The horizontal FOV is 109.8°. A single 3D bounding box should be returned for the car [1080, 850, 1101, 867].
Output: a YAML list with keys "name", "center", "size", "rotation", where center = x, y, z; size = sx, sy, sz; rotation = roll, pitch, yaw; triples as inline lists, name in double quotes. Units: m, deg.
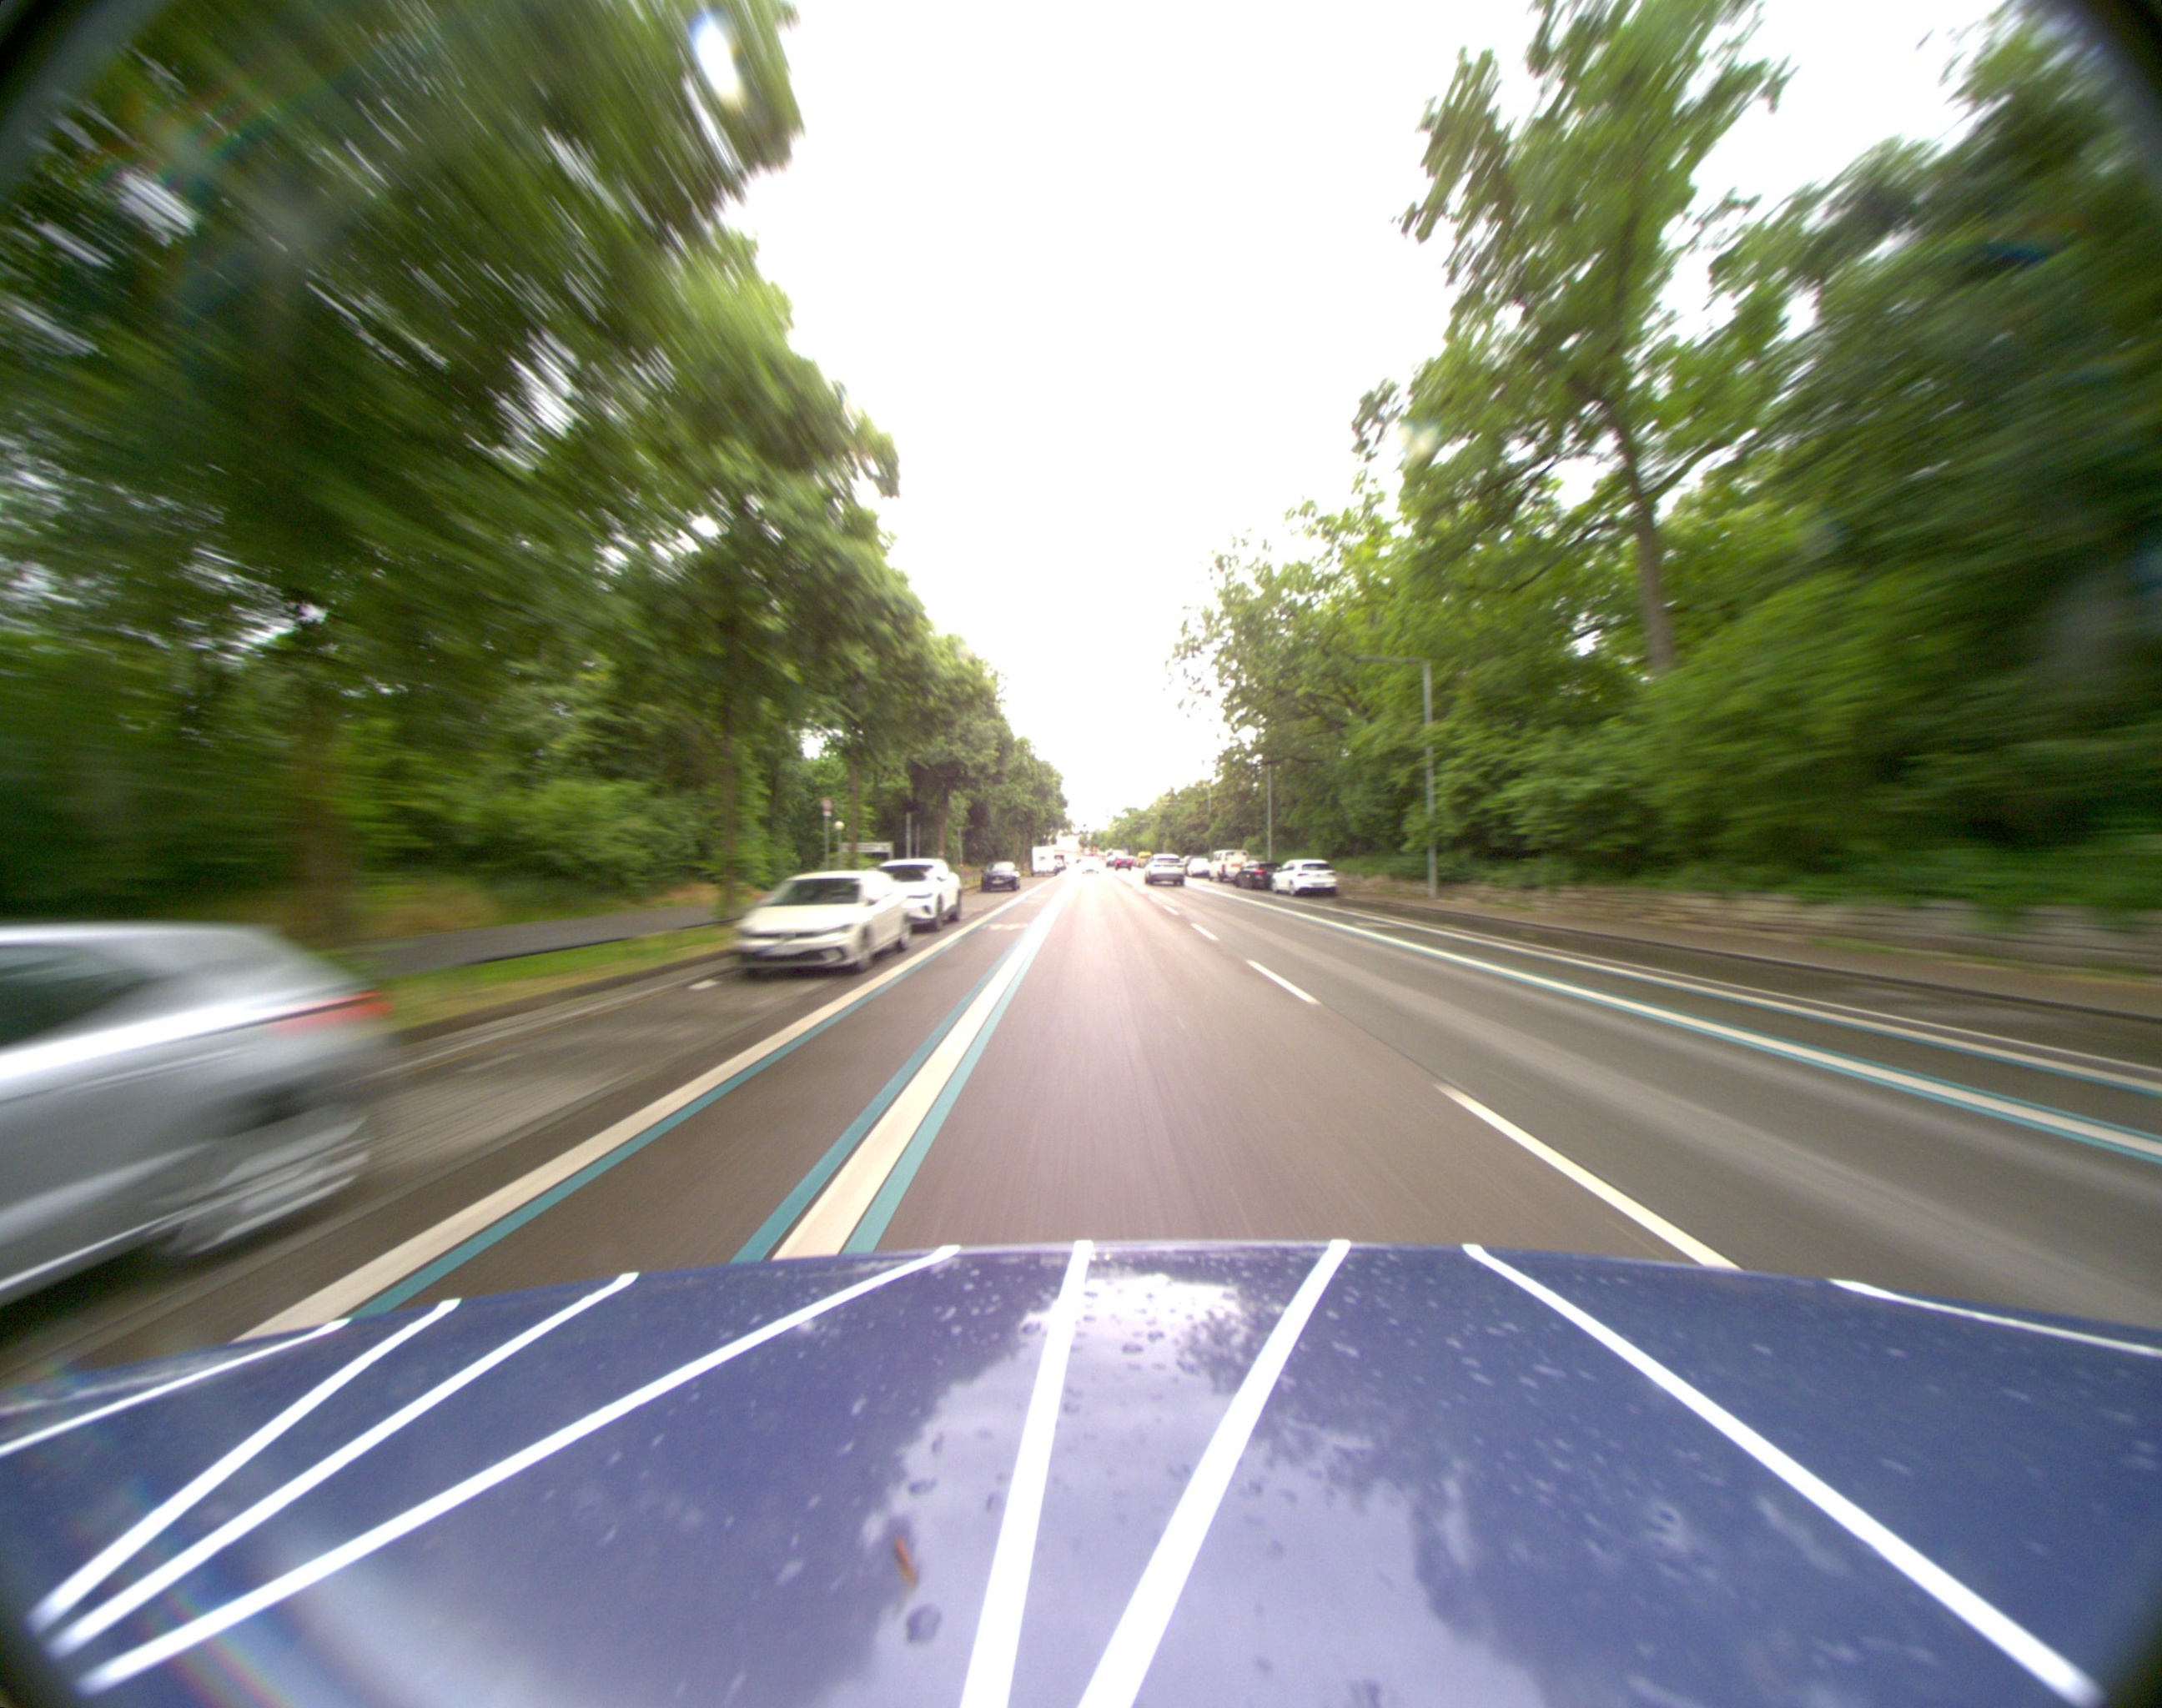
- name: "car"
  center: [0.944, 0.476, 75.243]
  size: [1.998, 1.588, 4.000]
  rotation: [-1, 0, 1]

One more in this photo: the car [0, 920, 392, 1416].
- name: "car"
  center: [-4.270, 1.078, 1.699]
  size: [1.702, 1.445, 4.097]
  rotation: [-2, 0, -1]

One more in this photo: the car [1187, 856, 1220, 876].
- name: "car"
  center: [9.496, 0.889, 59.145]
  size: [1.811, 1.489, 4.753]
  rotation: [0, 1, 1]

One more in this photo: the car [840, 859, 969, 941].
- name: "car"
  center: [-4.038, 0.981, 18.239]
  size: [1.998, 1.652, 4.562]
  rotation: [-1, 0, 0]

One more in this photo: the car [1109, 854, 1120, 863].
- name: "car"
  center: [5.524, 0.798, 126.427]
  size: [1.769, 1.449, 4.496]
  rotation: [1, 0, 1]

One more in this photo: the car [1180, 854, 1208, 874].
- name: "car"
  center: [9.749, 0.821, 65.672]
  size: [1.740, 1.651, 4.673]
  rotation: [0, 0, 0]

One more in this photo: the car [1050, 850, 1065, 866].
- name: "car"
  center: [-3.470, 0.615, 114.842]
  size: [1.998, 2.231, 4.000]
  rotation: [-2, 1, 1]

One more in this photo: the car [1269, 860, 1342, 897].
- name: "car"
  center: [9.330, 0.985, 31.955]
  size: [1.759, 1.427, 4.356]
  rotation: [0, 0, -1]

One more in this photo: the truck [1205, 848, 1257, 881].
- name: "truck"
  center: [9.567, 0.626, 48.766]
  size: [2.099, 2.002, 5.158]
  rotation: [-1, 0, -2]

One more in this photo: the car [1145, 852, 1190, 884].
- name: "car"
  center: [4.704, 0.750, 41.860]
  size: [1.958, 1.629, 4.445]
  rotation: [1, 0, 1]

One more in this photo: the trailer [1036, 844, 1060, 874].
- name: "trailer"
  center: [-2.894, 0.434, 66.907]
  size: [1.988, 2.550, 3.999]
  rotation: [-1, 0, -2]

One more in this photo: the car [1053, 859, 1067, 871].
- name: "car"
  center: [-2.804, 1.462, 102.627]
  size: [1.804, 1.589, 4.000]
  rotation: [-1, 0, 0]

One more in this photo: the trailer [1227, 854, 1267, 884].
- name: "trailer"
  center: [9.537, 0.862, 43.645]
  size: [1.347, 1.647, 2.271]
  rotation: [0, 0, 39]

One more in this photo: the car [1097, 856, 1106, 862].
- name: "car"
  center: [4.699, 1.111, 173.313]
  size: [1.805, 1.394, 3.999]
  rotation: [-1, 0, -3]

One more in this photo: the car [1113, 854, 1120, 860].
- name: "car"
  center: [9.311, 0.844, 199.530]
  size: [1.825, 1.427, 3.559]
  rotation: [1, 0, 1]

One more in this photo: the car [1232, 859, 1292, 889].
- name: "car"
  center: [9.069, 0.971, 38.476]
  size: [1.826, 1.390, 4.444]
  rotation: [-1, 0, -2]

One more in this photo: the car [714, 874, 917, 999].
- name: "car"
  center: [-3.876, 1.125, 11.831]
  size: [1.702, 1.445, 3.946]
  rotation: [-2, 0, 0]

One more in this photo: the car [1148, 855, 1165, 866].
- name: "car"
  center: [9.616, 0.837, 97.400]
  size: [1.825, 1.285, 4.206]
  rotation: [-1, 0, 1]

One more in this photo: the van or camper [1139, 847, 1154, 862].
- name: "van or camper"
  center: [10.578, 0.081, 122.834]
  size: [2.165, 2.437, 4.436]
  rotation: [-1, 0, 1]

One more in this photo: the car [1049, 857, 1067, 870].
- name: "car"
  center: [-2.542, 1.023, 84.176]
  size: [1.804, 1.455, 4.000]
  rotation: [-1, 0, 0]

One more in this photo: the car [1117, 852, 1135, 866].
- name: "car"
  center: [5.480, 0.614, 93.528]
  size: [2.043, 1.639, 4.477]
  rotation: [1, 0, 1]

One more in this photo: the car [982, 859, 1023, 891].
- name: "car"
  center: [-3.854, 1.006, 37.955]
  size: [1.700, 1.468, 3.997]
  rotation: [0, 0, -1]
